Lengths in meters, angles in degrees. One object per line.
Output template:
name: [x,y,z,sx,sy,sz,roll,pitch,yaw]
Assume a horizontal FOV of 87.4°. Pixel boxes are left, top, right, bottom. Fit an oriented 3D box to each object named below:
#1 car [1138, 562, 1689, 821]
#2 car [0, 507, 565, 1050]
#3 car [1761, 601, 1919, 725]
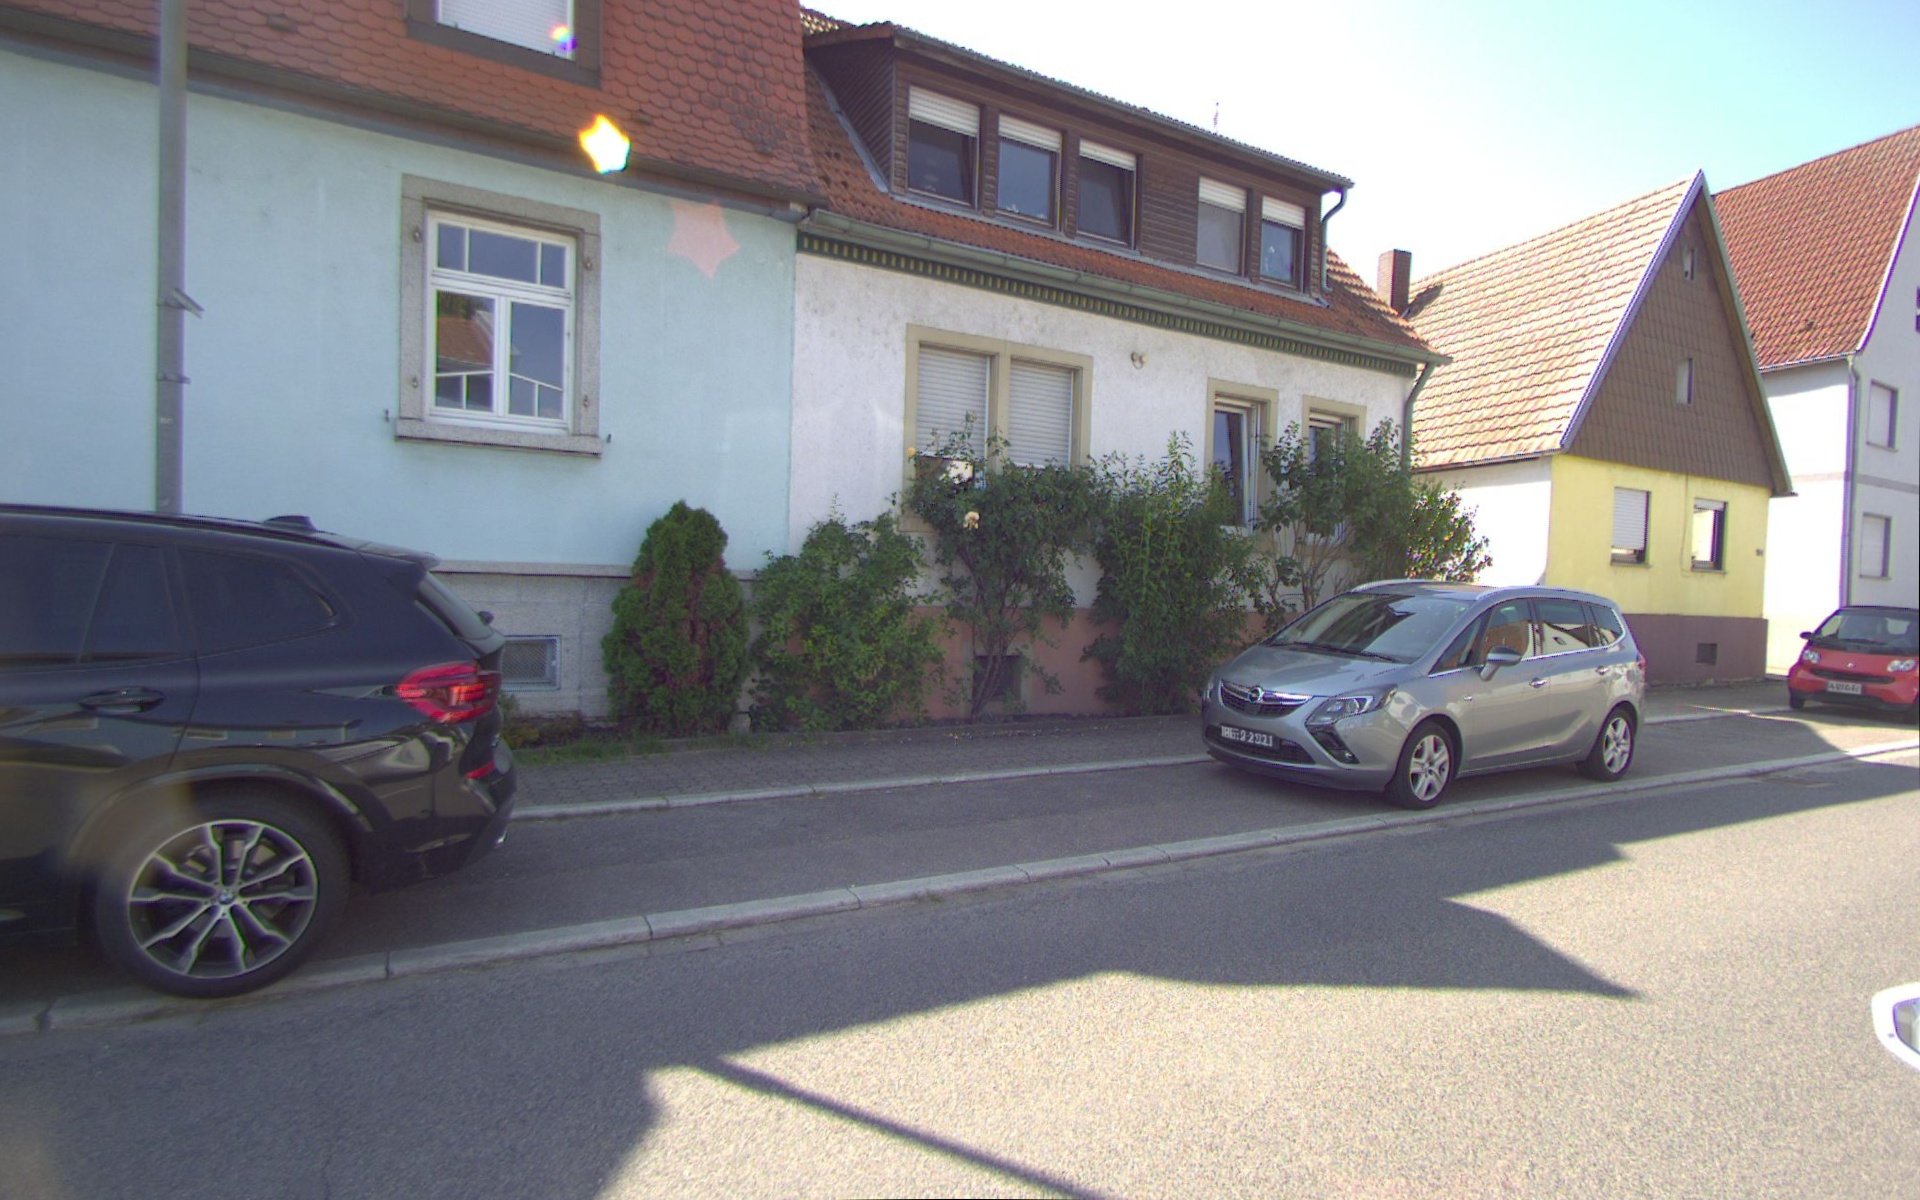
car: [3.917,0.616,8.472,4.609,1.659,1.864,1,2,-30]
car: [-4.019,0.487,3.613,4.609,1.690,1.911,2,3,-29]
car: [13.329,0.870,14.662,2.953,1.565,1.545,1,2,-30]
